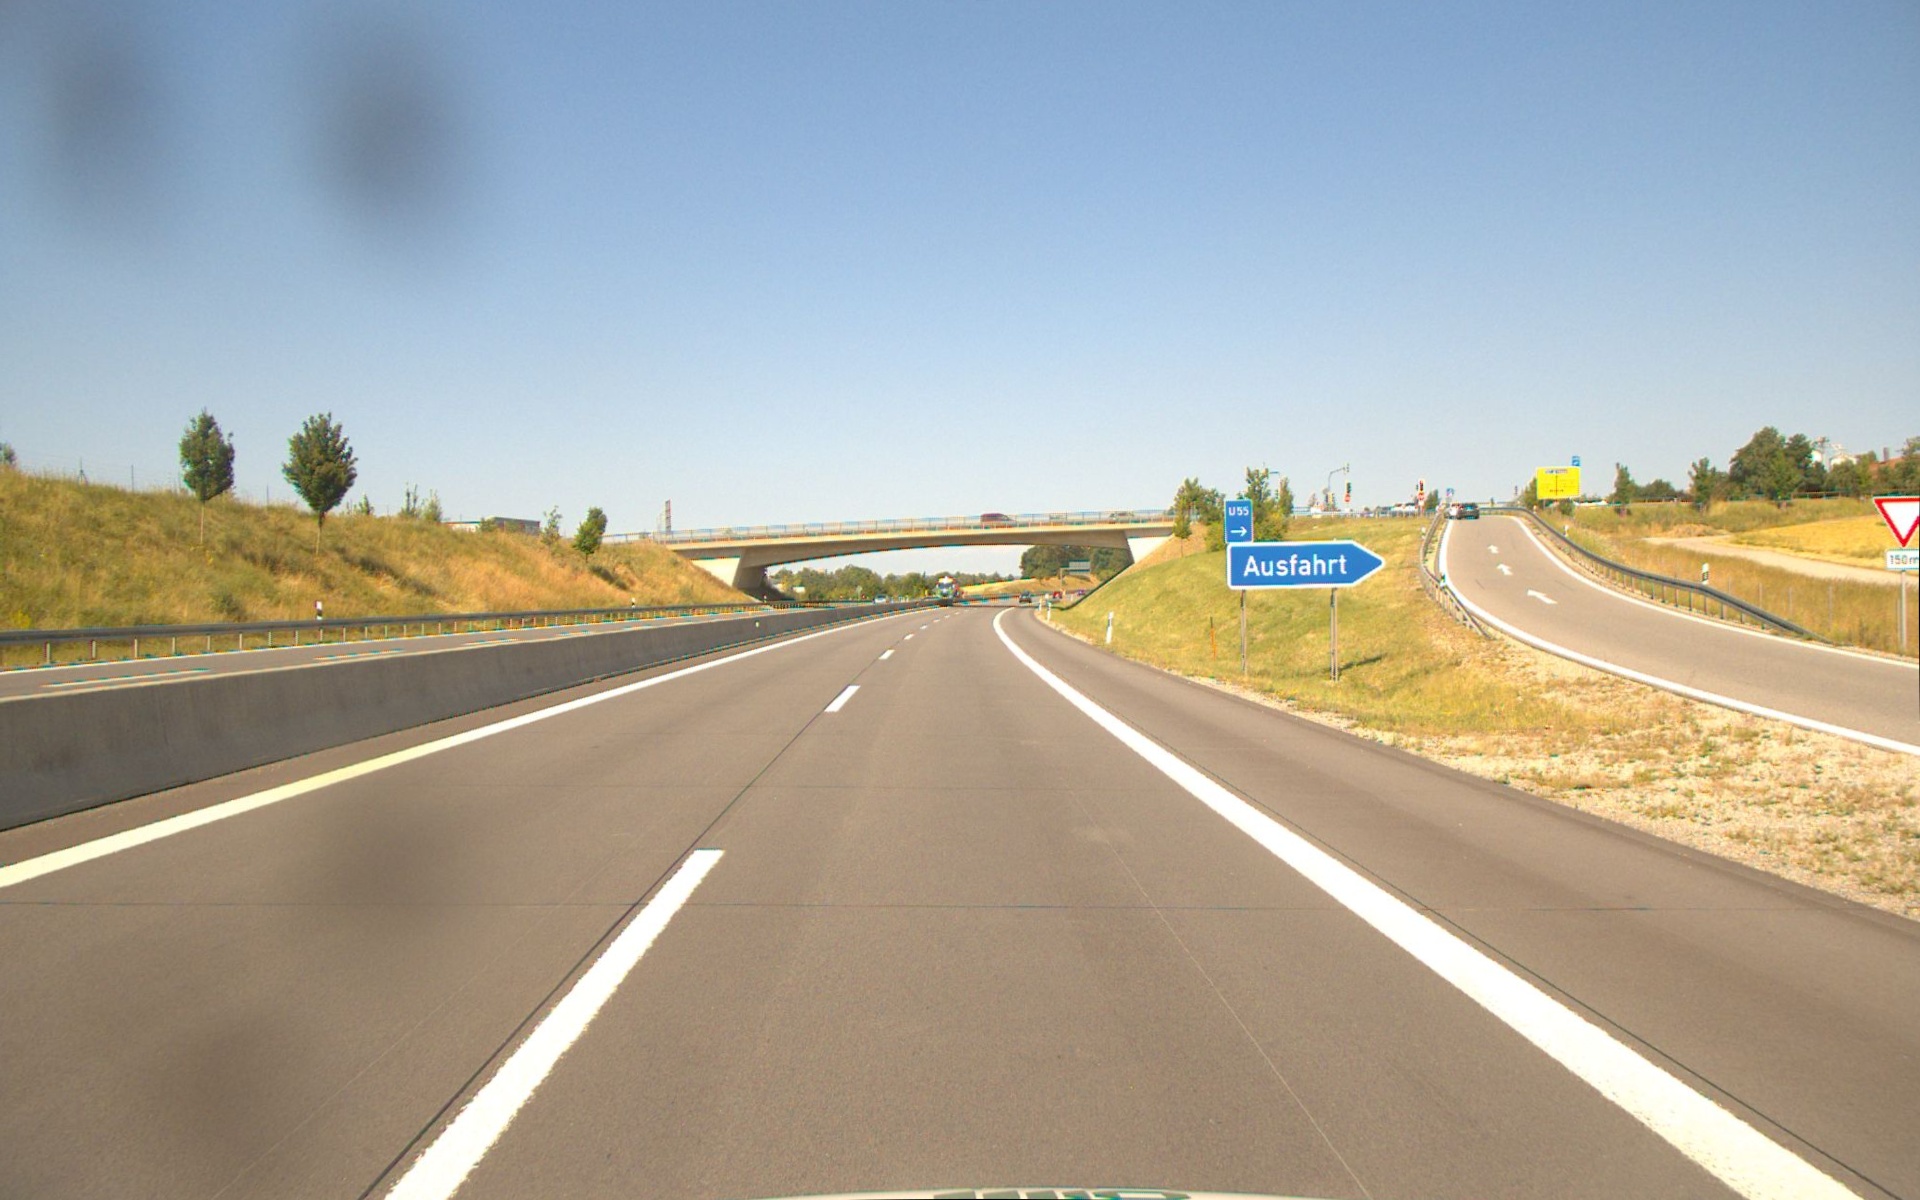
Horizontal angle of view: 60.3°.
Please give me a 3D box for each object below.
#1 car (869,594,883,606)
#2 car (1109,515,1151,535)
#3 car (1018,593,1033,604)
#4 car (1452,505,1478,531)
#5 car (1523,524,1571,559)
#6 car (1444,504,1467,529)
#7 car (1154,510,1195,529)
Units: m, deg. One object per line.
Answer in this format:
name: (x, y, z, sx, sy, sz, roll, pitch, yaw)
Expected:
car: (-11.433, 0.007, 225.242, 1.825, 1.557, 4.564, -2, 0, -5)
car: (18.546, -8.164, 180.584, 4.169, 2.056, 1.996, -2, 1, -9)
car: (9.799, -0.226, 248.503, 1.953, 1.445, 3.999, -2, 0, -1)
car: (45.156, -7.332, 147.870, 1.951, 2.049, 4.003, -2, 0, 14)
car: (30.611, -3.023, 86.293, 1.951, 1.646, 4.003, -2, 0, 14)
car: (46.568, -7.837, 155.495, 1.951, 2.049, 4.003, -1, 0, 14)
car: (23.527, -8.800, 181.343, 4.047, 1.914, 1.996, -2, 1, -9)
